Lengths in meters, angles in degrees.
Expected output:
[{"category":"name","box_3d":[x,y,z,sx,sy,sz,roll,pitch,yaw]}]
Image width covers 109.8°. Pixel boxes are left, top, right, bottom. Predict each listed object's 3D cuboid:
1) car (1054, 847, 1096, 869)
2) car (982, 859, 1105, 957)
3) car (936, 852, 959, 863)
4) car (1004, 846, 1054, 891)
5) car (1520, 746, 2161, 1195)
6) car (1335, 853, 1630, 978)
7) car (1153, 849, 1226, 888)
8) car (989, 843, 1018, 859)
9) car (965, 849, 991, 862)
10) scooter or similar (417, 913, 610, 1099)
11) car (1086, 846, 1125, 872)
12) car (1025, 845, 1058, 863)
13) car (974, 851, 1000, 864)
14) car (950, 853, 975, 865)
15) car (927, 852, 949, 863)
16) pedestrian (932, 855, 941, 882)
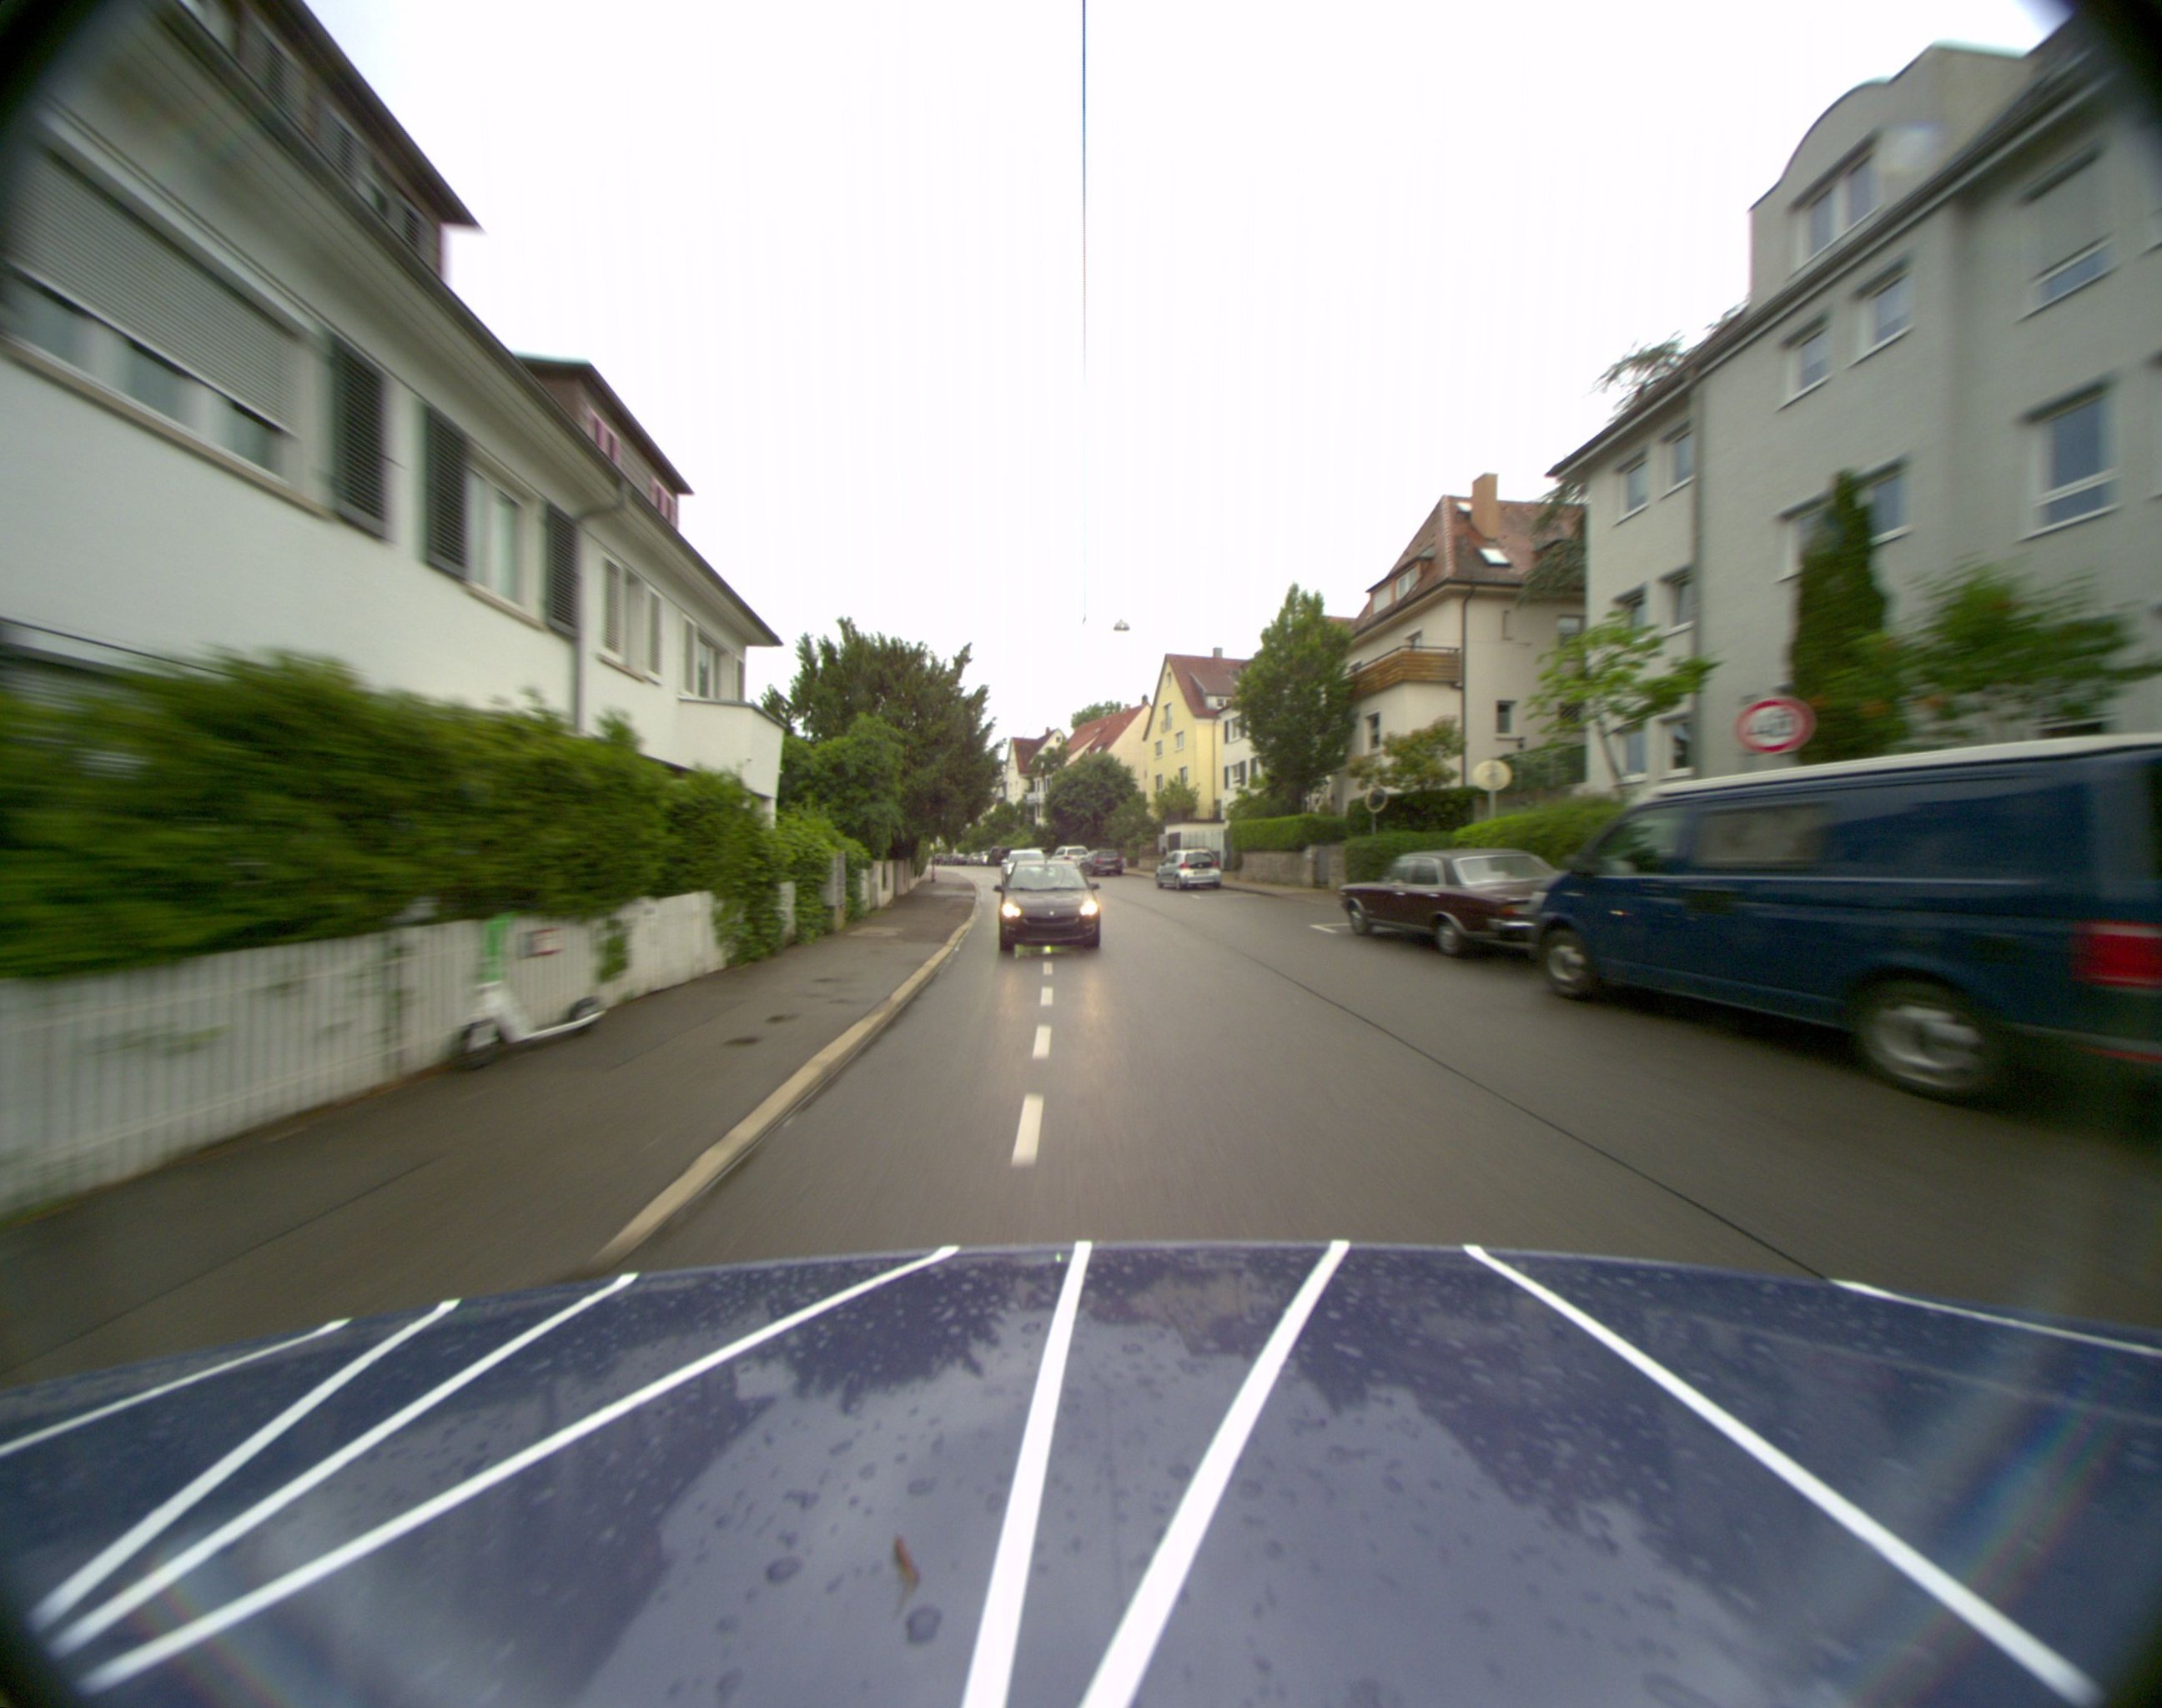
[{"category":"car","box_3d":[-0.458,0.287,51.031,1.682,1.364,4.431,1,-1,-16]},{"category":"car","box_3d":[-0.559,0.864,13.709,1.898,1.455,3.681,-1,0,1]},{"category":"car","box_3d":[-17.141,0.443,97.233,1.683,1.364,4.428,-2,0,-26]},{"category":"car","box_3d":[-2.247,0.579,31.788,1.796,1.689,3.888,-2,0,-7]},{"category":"car","box_3d":[5.547,0.484,5.546,1.837,1.976,4.580,-2,0,-3]},{"category":"car","box_3d":[5.507,0.721,11.217,1.680,1.364,4.508,-2,1,-5]},{"category":"car","box_3d":[4.066,0.527,28.919,1.681,1.364,3.437,-2,0,-11]},{"category":"car","box_3d":[-7.471,-0.270,73.253,1.682,1.364,3.878,-2,0,-22]},{"category":"car","box_3d":[-11.637,0.221,85.385,1.682,1.364,4.428,-2,0,-24]},{"category":"scooter or similar","box_3d":[-4.124,1.047,5.628,0.447,1.124,1.275,0,0,1]},{"category":"car","box_3d":[1.363,0.302,43.251,1.680,1.364,3.438,-2,0,-7]},{"category":"car","box_3d":[-3.226,0.052,61.570,1.681,1.364,4.431,-2,0,-16]},{"category":"car","box_3d":[-9.933,0.372,80.043,1.682,1.364,4.429,-2,0,-22]},{"category":"car","box_3d":[-14.359,0.647,91.966,1.683,1.364,4.428,-2,0,-26]},{"category":"car","box_3d":[-19.788,0.465,104.933,1.683,1.364,4.427,-2,0,-27]},{"category":"pedestrian","box_3d":[-6.739,0.662,35.454,0.427,1.239,0.315,0,1,-9]}]
